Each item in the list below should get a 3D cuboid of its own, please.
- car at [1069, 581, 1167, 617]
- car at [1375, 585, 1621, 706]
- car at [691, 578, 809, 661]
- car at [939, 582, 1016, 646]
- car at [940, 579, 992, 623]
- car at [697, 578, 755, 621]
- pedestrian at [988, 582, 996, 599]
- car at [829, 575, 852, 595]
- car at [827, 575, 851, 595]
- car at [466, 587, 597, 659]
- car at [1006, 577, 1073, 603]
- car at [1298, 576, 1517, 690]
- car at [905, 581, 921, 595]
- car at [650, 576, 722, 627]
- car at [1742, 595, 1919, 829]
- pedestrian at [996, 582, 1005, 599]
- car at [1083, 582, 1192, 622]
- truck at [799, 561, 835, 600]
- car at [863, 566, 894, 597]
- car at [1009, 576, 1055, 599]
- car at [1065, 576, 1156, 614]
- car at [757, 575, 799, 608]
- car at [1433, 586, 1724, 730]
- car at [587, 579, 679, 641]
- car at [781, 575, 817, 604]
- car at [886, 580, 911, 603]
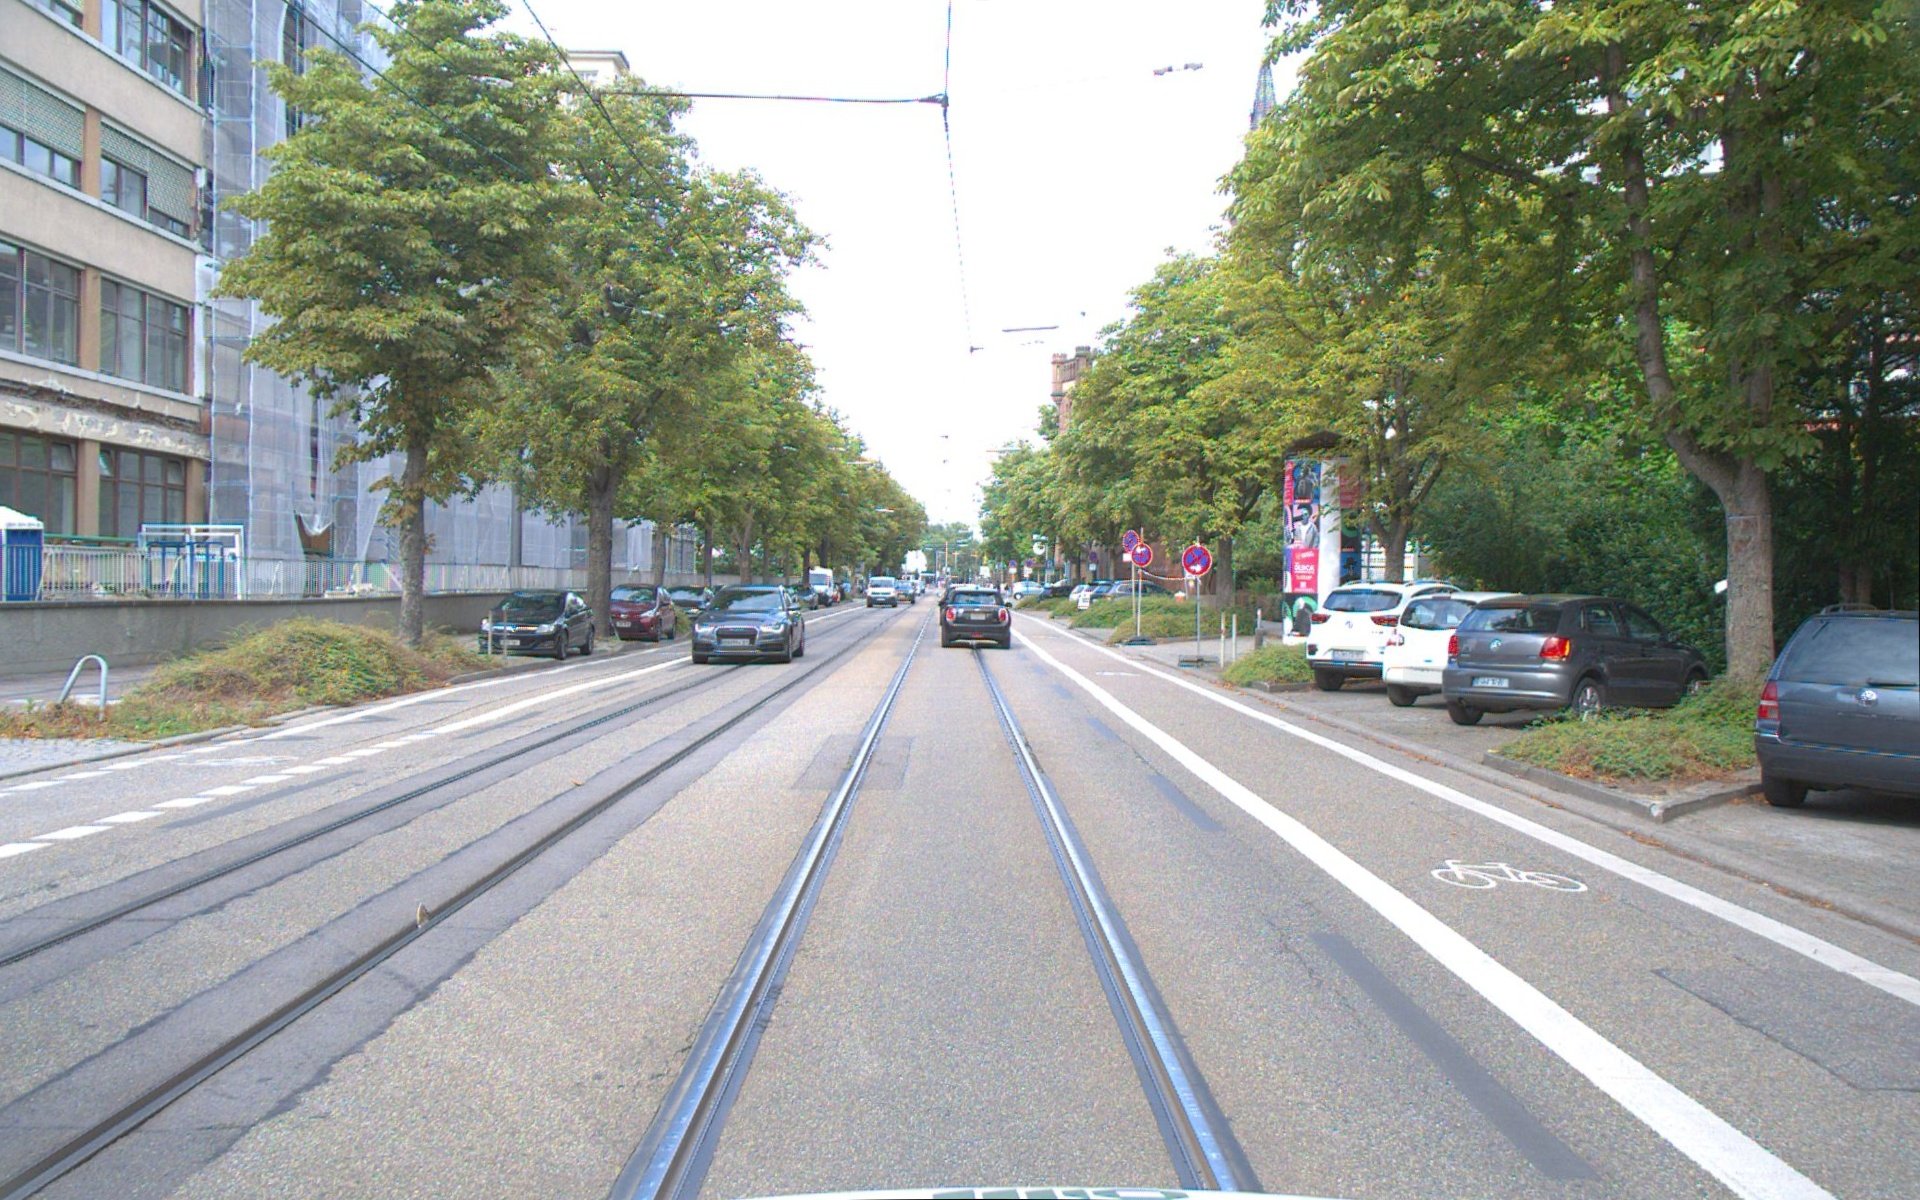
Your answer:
[{"bbox_3d":[6.729,-0.046,70.600,3.908,1.449,1.883,1,1,-4],"label":"car"},{"bbox_3d":[7.194,0.557,21.994,3.414,1.468,1.538,0,1,-40],"label":"car"},{"bbox_3d":[-4.031,0.325,32.370,1.797,1.473,4.552,1,1,-1],"label":"car"},{"bbox_3d":[0.396,0.315,41.114,1.757,1.447,3.999,2,1,-1],"label":"car"},{"bbox_3d":[0.188,0.015,60.204,1.757,1.495,4.000,3,1,-1],"label":"car"},{"bbox_3d":[-9.110,-0.035,64.755,1.766,1.611,4.030,0,1,-1],"label":"car"},{"bbox_3d":[3.279,-0.966,169.567,0.711,1.674,0.767,2,1,9],"label":"pedestrian"},{"bbox_3d":[-10.116,-1.287,139.977,1.766,1.611,4.030,0,1,-1],"label":"car"},{"bbox_3d":[-9.793,-1.213,134.022,1.766,1.611,4.030,0,1,-1],"label":"car"},{"bbox_3d":[-8.926,0.439,34.762,1.766,1.398,4.030,0,1,-1],"label":"car"},{"bbox_3d":[4.889,-0.631,101.604,3.908,1.534,1.883,1,1,-4],"label":"car"},{"bbox_3d":[6.816,0.465,25.087,3.414,1.600,1.538,0,1,-40],"label":"car"},{"bbox_3d":[-5.312,-1.365,188.908,1.766,1.650,4.483,0,1,-1],"label":"car"},{"bbox_3d":[-8.911,0.032,54.024,1.766,1.611,4.030,0,1,-1],"label":"car"},{"bbox_3d":[7.251,0.741,12.170,1.613,1.484,3.714,1,0,44],"label":"car"},{"bbox_3d":[4.239,-0.990,172.807,0.711,1.674,0.767,2,1,9],"label":"pedestrian"},{"bbox_3d":[6.795,0.064,63.700,3.908,1.449,1.883,1,1,-4],"label":"car"},{"bbox_3d":[-9.356,-1.262,108.435,2.029,2.513,4.898,0,1,-1],"label":"truck"},{"bbox_3d":[-4.986,-1.164,101.725,1.766,1.855,4.483,0,1,-1],"label":"car"},{"bbox_3d":[6.393,-1.145,147.812,3.908,1.944,1.999,2,1,-4],"label":"car"},{"bbox_3d":[6.901,-0.230,76.006,3.908,1.656,1.883,1,1,-4],"label":"car"},{"bbox_3d":[-9.223,-0.452,83.947,1.766,1.611,4.030,0,1,-1],"label":"car"},{"bbox_3d":[7.117,0.605,18.901,3.502,1.468,1.601,0,1,-40],"label":"car"},{"bbox_3d":[-8.867,0.248,45.155,1.766,1.611,4.030,0,1,-1],"label":"car"},{"bbox_3d":[-9.239,-0.629,95.353,1.766,1.611,4.030,0,1,-1],"label":"car"},{"bbox_3d":[-4.478,-0.612,121.215,1.766,1.650,4.483,0,1,-1],"label":"car"}]
